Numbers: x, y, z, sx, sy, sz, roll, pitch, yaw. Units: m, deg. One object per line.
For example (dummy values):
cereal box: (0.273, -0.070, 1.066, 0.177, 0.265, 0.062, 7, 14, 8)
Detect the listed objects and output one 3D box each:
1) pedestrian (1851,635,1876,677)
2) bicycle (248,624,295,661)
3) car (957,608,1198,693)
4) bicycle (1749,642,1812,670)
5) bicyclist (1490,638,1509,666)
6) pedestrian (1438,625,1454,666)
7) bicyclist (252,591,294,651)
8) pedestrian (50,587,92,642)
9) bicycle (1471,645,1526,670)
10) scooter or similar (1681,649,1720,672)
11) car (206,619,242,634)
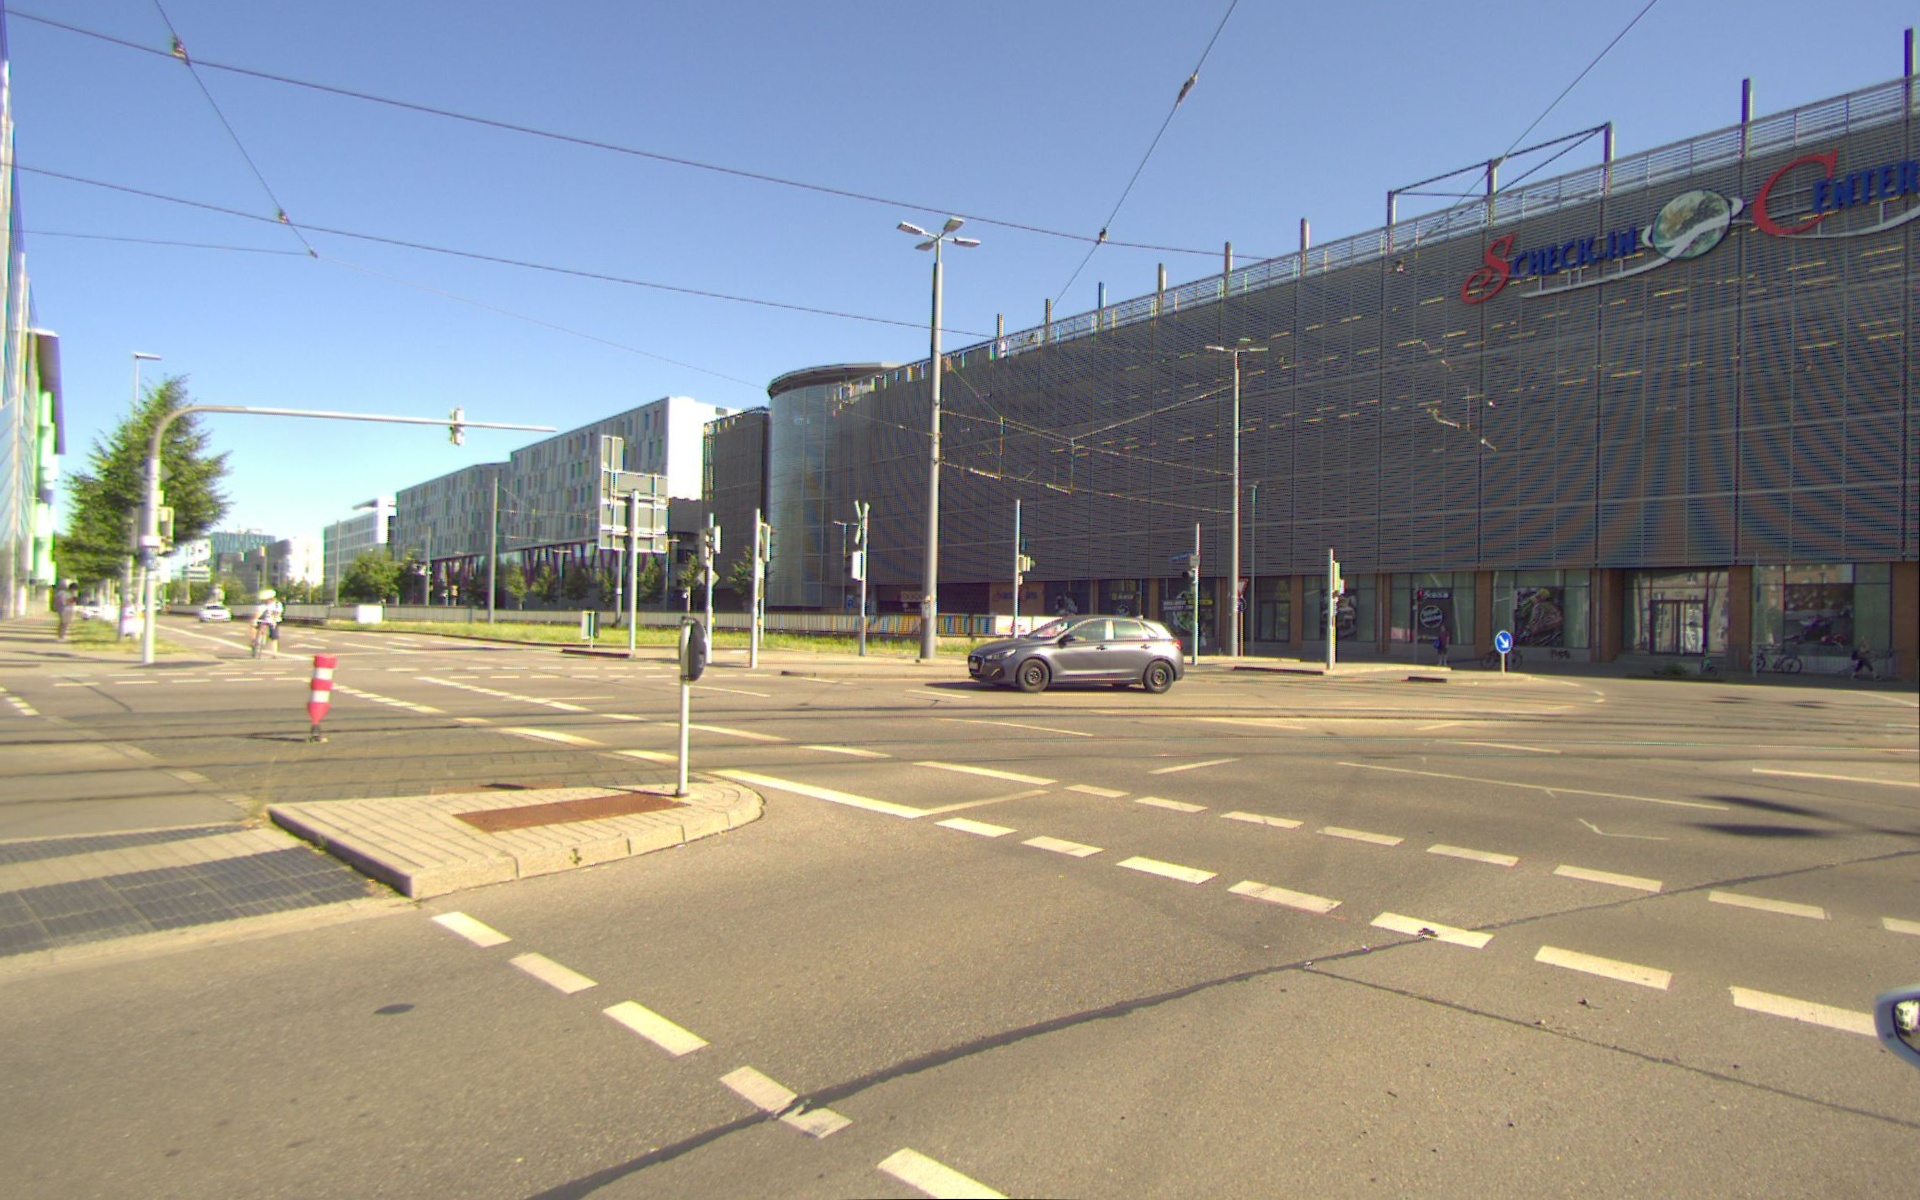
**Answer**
pedestrian: (34.221, 2.118, 38.045, 0.487, 1.539, 0.642, 2, -1, -39)
bicycle: (-16.671, 1.012, 24.363, 0.762, 0.851, 2.547, 2, -2, -31)
car: (2.263, 0.983, 19.658, 4.240, 1.519, 1.993, 2, -1, -17)
bicycle: (33.178, 2.256, 40.639, 1.923, 1.052, 0.570, 0, -1, 43)
bicyclist: (23.095, 2.213, 43.013, 0.552, 1.154, 0.560, 1, -1, 14)
pedestrian: (21.746, 2.024, 44.952, 0.614, 1.774, 0.588, 1, -1, 28)
bicyclist: (-16.670, 0.519, 24.391, 0.753, 1.428, 0.765, 2, -1, -31)
pedestrian: (-26.042, 0.438, 29.440, 0.850, 1.576, 0.607, 2, -1, -38)
bicycle: (23.061, 2.451, 43.016, 1.980, 0.998, 0.560, 1, -1, 14)
scooter or similar: (28.887, 2.358, 39.189, 1.210, 0.862, 0.299, 0, -1, 44)
car: (-59.148, 2.086, 80.671, 1.985, 1.104, 3.951, 2, -2, -42)
